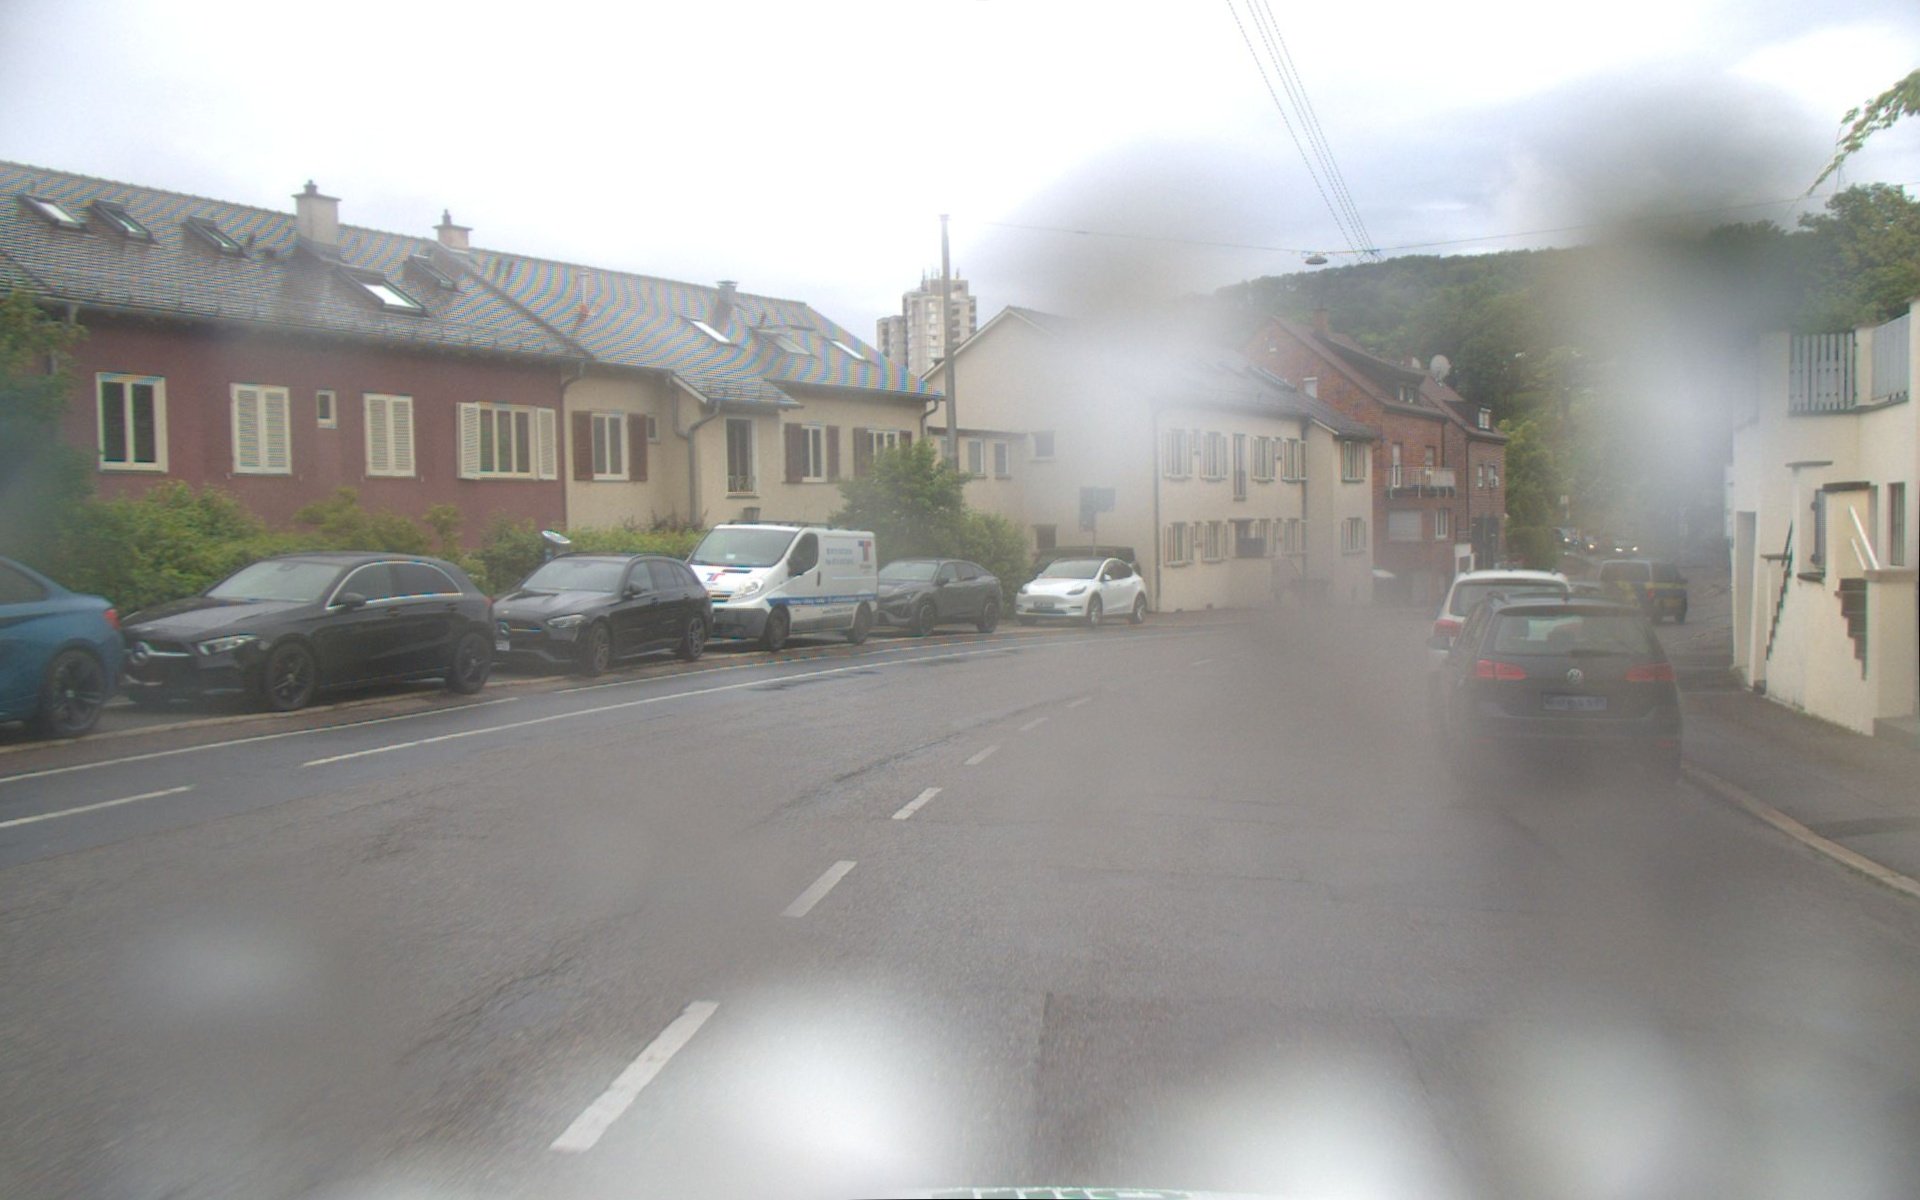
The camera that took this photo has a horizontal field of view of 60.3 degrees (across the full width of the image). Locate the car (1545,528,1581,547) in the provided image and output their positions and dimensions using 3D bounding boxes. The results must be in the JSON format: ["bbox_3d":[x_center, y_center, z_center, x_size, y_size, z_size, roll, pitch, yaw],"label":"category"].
[{"bbox_3d":[55.897,-5.817,153.440,1.706,1.576,4.000,-4,3,-1],"label":"car"}]

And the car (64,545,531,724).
[{"bbox_3d":[-6.353,0.254,16.492,1.770,1.502,4.524,1,1,20],"label":"car"}]

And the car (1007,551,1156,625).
[{"bbox_3d":[3.023,-0.306,40.160,1.892,1.659,4.672,1,1,27],"label":"car"}]

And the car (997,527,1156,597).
[{"bbox_3d":[3.506,-1.151,49.885,4.403,2.048,1.885,0,2,29],"label":"car"}]

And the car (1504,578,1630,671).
[{"bbox_3d":[10.857,0.372,29.420,1.609,1.461,4.169,1,2,27],"label":"car"}]

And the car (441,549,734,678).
[{"bbox_3d":[-4.761,0.113,21.868,1.770,1.502,4.525,1,1,17],"label":"car"}]

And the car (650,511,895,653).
[{"bbox_3d":[-2.959,-0.323,27.417,1.811,2.115,5.020,1,1,23],"label":"car"}]

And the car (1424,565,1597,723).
[{"bbox_3d":[6.585,0.431,19.877,1.765,1.678,4.212,0,1,18],"label":"car"}]

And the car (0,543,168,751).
[{"bbox_3d":[-7.558,0.328,11.178,1.663,1.429,4.477,1,2,10],"label":"car"}]

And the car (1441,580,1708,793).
[{"bbox_3d":[5.070,0.597,14.134,1.642,1.509,4.205,1,1,14],"label":"car"}]

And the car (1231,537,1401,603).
[{"bbox_3d":[14.729,-1.255,68.582,6.535,2.598,2.162,1,0,33],"label":"car"}]

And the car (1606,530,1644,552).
[{"bbox_3d":[56.416,-5.039,140.330,1.705,1.576,4.004,-4,4,3],"label":"car"}]

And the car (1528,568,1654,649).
[{"bbox_3d":[13.040,0.133,34.021,1.755,1.522,4.698,1,1,29],"label":"car"}]

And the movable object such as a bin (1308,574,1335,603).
[{"bbox_3d":[13.315,-0.423,60.942,0.767,1.065,0.736,1,1,32],"label":"movable object such as a bin"}]

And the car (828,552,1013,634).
[{"bbox_3d":[-0.698,-0.171,32.893,1.773,1.502,4.518,1,1,26],"label":"car"}]

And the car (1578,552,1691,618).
[{"bbox_3d":[21.421,-0.522,52.429,2.271,1.973,4.307,1,2,37],"label":"car"}]

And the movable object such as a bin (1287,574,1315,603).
[{"bbox_3d":[12.475,-0.428,60.498,0.767,1.065,0.707,1,1,32],"label":"movable object such as a bin"}]

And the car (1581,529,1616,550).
[{"bbox_3d":[56.515,-5.402,146.451,1.705,1.576,4.004,-4,4,4],"label":"car"}]

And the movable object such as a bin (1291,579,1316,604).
[{"bbox_3d":[12.362,-0.324,59.482,0.661,0.874,0.707,1,1,32],"label":"movable object such as a bin"}]
